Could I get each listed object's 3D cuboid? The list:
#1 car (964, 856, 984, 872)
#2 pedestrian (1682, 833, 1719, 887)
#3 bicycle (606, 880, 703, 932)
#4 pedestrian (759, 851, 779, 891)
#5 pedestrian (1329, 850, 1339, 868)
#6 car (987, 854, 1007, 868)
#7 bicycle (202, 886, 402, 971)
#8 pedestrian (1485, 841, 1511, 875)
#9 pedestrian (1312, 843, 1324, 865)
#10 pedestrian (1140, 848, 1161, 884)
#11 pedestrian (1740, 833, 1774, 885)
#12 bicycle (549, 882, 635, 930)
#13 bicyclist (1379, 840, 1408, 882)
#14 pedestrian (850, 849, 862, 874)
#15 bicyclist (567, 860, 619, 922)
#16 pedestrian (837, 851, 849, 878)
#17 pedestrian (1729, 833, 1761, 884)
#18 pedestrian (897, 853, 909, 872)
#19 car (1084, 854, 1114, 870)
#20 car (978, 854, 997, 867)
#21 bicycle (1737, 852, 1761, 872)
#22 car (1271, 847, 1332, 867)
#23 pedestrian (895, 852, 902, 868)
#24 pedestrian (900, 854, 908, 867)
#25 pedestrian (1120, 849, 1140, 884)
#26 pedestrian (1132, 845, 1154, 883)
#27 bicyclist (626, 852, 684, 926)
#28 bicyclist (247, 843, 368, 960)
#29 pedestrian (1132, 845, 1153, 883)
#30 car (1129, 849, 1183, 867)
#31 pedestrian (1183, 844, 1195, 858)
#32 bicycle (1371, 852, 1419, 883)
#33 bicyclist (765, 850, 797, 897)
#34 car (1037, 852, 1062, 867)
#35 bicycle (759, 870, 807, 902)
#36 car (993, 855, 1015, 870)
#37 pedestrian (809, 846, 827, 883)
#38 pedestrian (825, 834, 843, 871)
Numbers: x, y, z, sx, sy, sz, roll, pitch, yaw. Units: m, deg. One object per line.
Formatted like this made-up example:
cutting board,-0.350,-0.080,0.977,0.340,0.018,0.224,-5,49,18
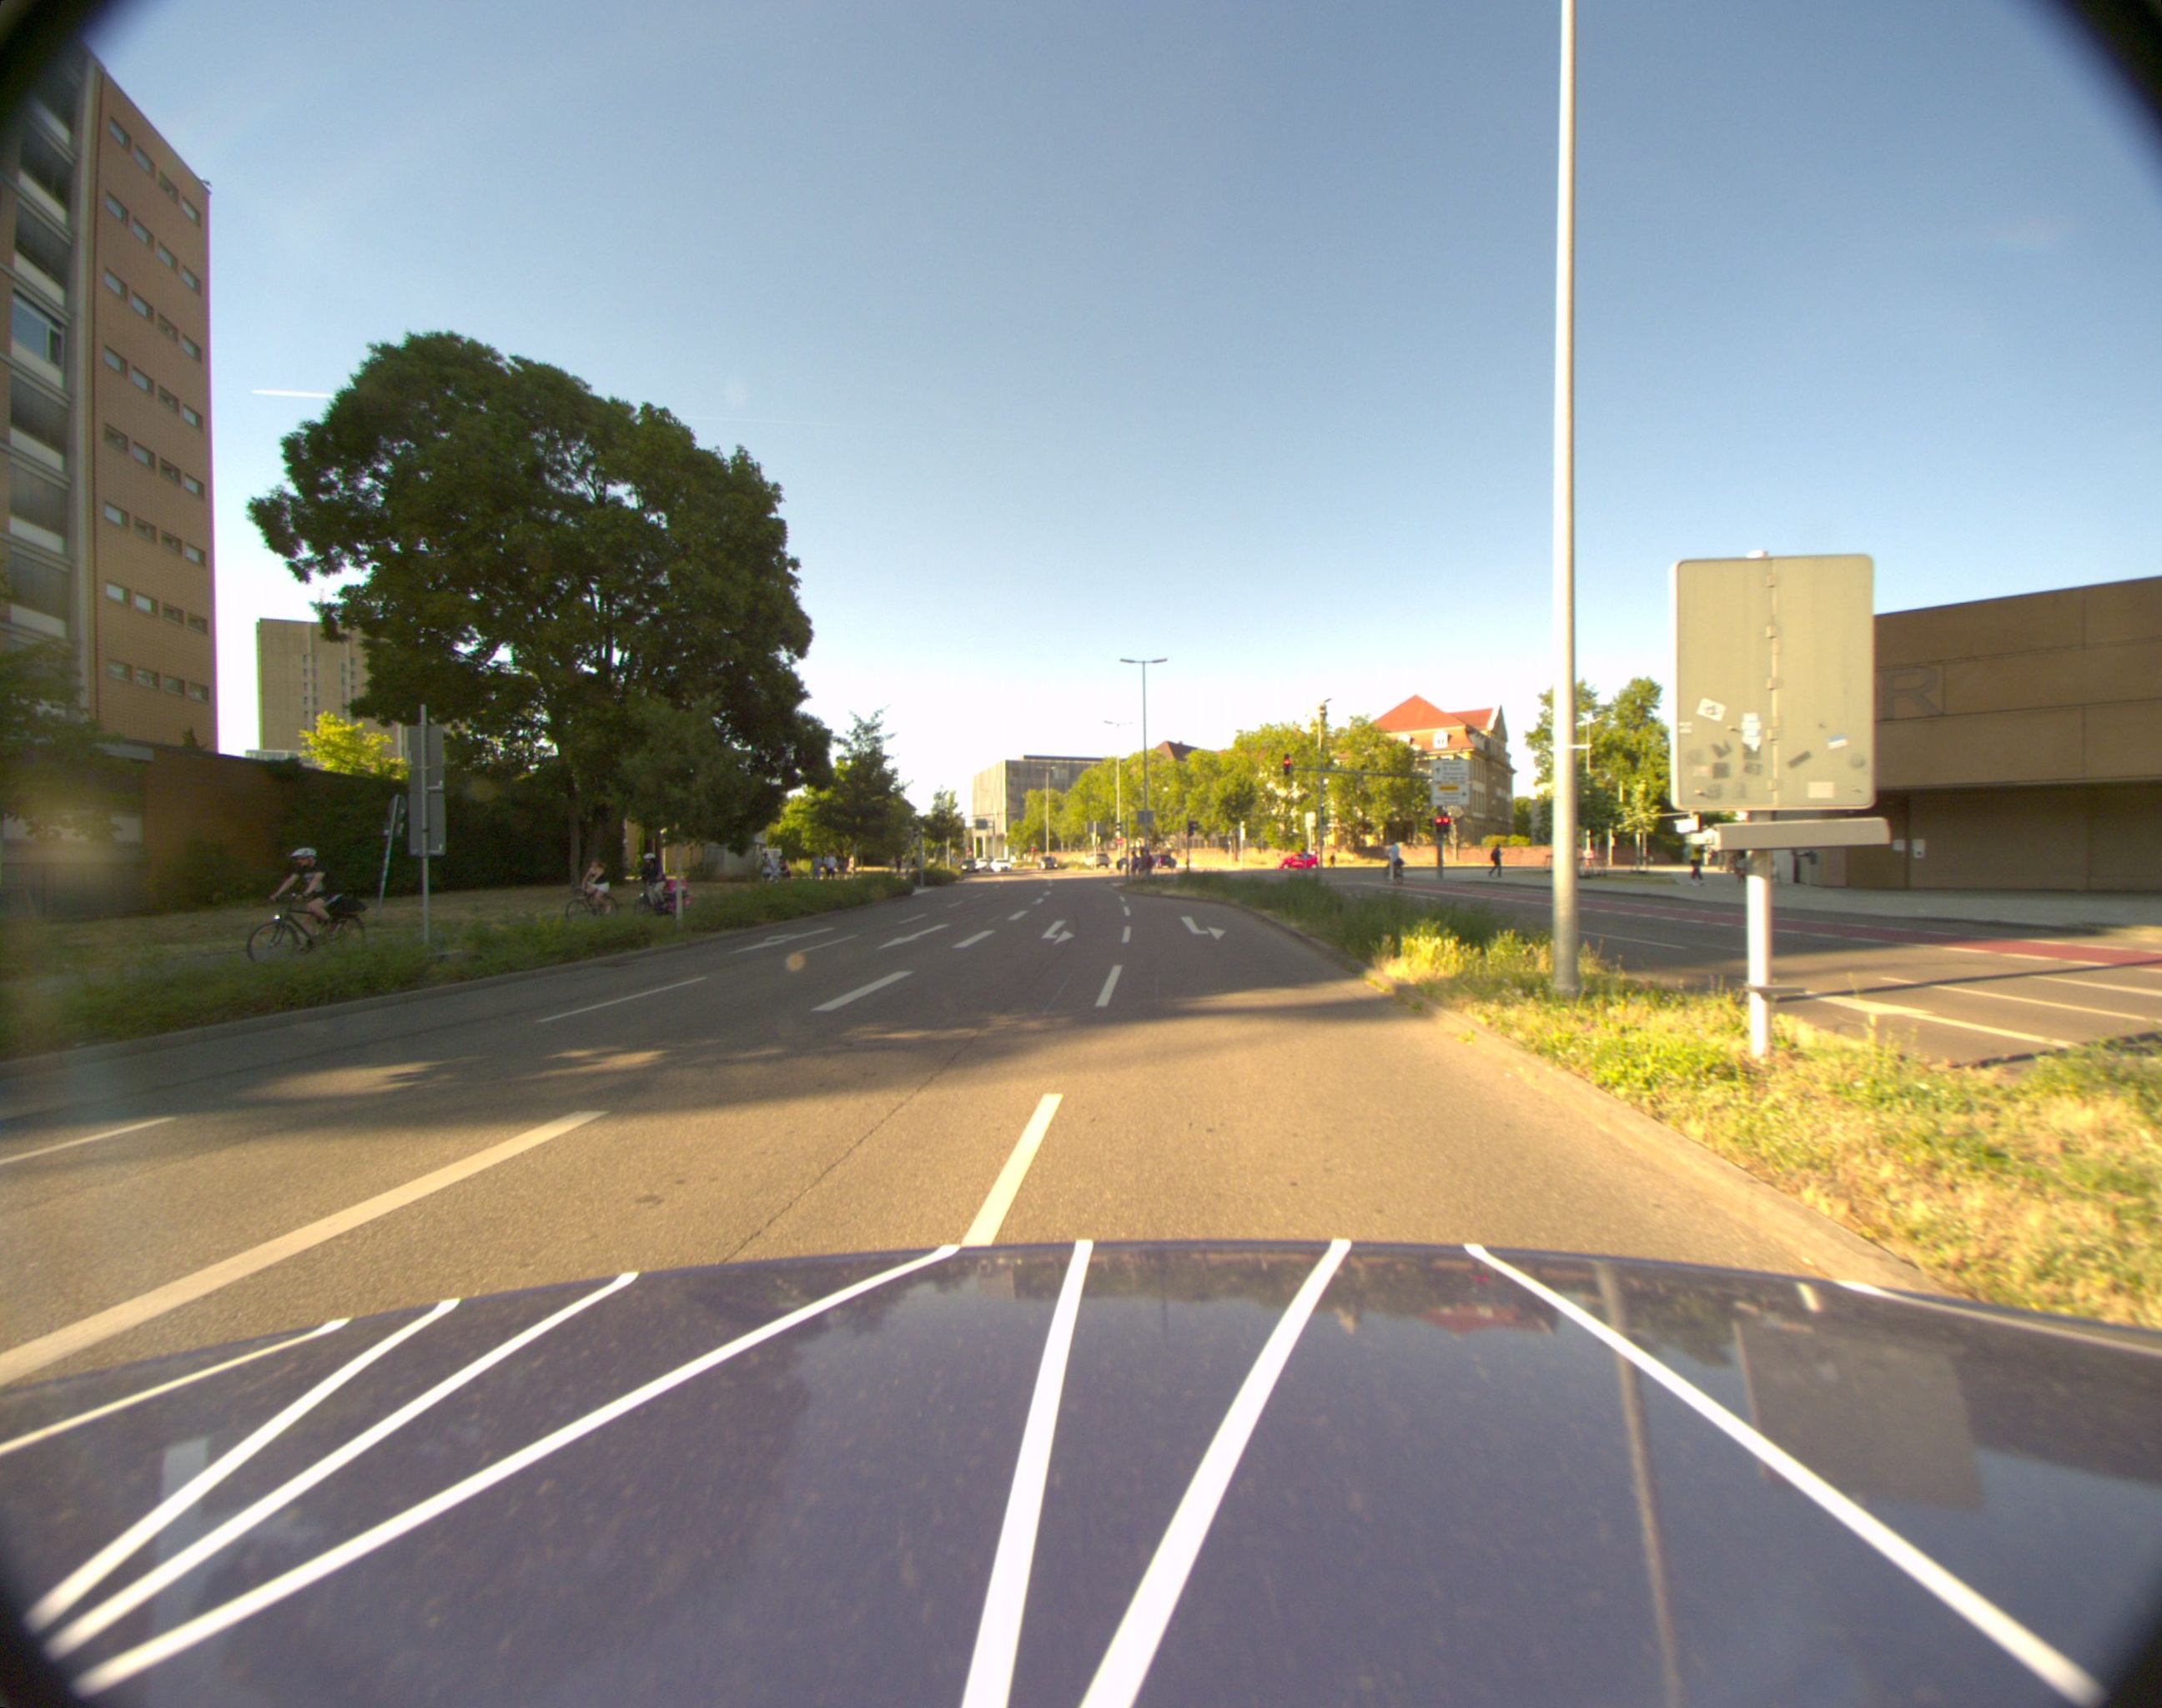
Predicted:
car,-10.962,0.990,77.630,1.804,1.510,3.995,-1,0,-12
pedestrian,21.408,0.217,26.269,0.717,1.824,0.640,-2,-1,11
bicycle,-10.910,1.287,19.590,0.779,1.149,2.582,0,0,7
pedestrian,-13.449,0.713,32.727,0.622,1.689,0.630,-1,1,-7
pedestrian,23.230,0.436,69.763,0.791,1.644,0.713,2,5,27
car,-9.635,0.763,86.879,1.926,1.510,4.013,-1,0,-12
bicycle,-12.583,1.161,12.417,0.779,1.149,2.292,0,0,5
pedestrian,21.127,0.206,38.523,0.899,1.675,0.748,-1,0,0
pedestrian,21.521,-0.010,68.934,0.872,1.884,0.712,0,4,2
pedestrian,3.361,0.564,36.613,0.927,1.731,0.787,-1,1,0
pedestrian,23.110,0.186,25.986,0.734,1.720,0.666,-2,-1,36
bicycle,-12.390,1.300,19.327,0.718,1.114,1.871,-2,-1,11
bicyclist,13.629,0.294,33.116,0.742,1.821,1.012,-1,1,-8
pedestrian,-15.437,0.542,52.149,0.677,1.694,0.875,-1,1,-20
bicyclist,-12.405,0.932,19.327,0.716,1.539,0.850,-2,-1,11
pedestrian,-14.033,0.626,44.788,0.623,1.565,0.638,-1,1,-15
pedestrian,22.251,0.163,25.475,0.638,1.678,0.551,-2,-1,24
pedestrian,-16.788,0.777,71.576,1.020,1.739,0.848,0,1,-21
car,2.021,0.911,87.324,2.196,1.673,4.602,-1,-2,-15
car,-11.486,0.756,93.308,1.926,1.510,4.013,-1,0,-12
bicycle,38.606,0.476,43.932,0.743,1.099,2.129,-2,-2,33
car,19.142,0.272,65.965,4.604,1.576,2.195,-1,-1,-2
pedestrian,-19.008,0.610,79.244,0.713,1.703,0.733,-1,1,-15
pedestrian,-19.918,0.731,85.610,0.764,1.534,0.846,0,1,-21
pedestrian,2.423,0.599,37.601,0.927,1.731,0.757,-1,1,0
pedestrian,2.868,0.458,35.020,0.927,1.731,0.757,-1,1,0
bicyclist,-10.926,0.877,19.530,0.779,1.823,1.094,0,1,7
bicyclist,-12.584,0.736,12.402,0.779,1.820,1.093,0,1,5
pedestrian,2.906,0.462,35.813,0.927,1.731,0.757,-1,1,0
car,7.207,0.425,73.213,4.595,1.576,2.200,-2,-2,29
pedestrian,12.264,-0.318,86.193,0.974,1.528,0.921,-1,1,-15
bicycle,13.639,0.571,33.135,0.742,1.248,2.554,-1,1,-8
bicyclist,-11.580,0.735,29.368,0.716,1.778,0.850,-2,1,9
car,-3.362,0.604,80.538,1.926,1.510,4.013,-1,0,-12
bicycle,-11.538,1.220,29.495,0.718,1.115,2.068,-2,1,9
car,-8.090,0.830,79.709,1.804,1.510,4.426,-1,0,-12
pedestrian,-13.290,0.528,38.422,0.575,1.858,0.624,0,1,36
pedestrian,-12.507,-0.074,38.404,0.575,1.858,0.624,0,1,36
